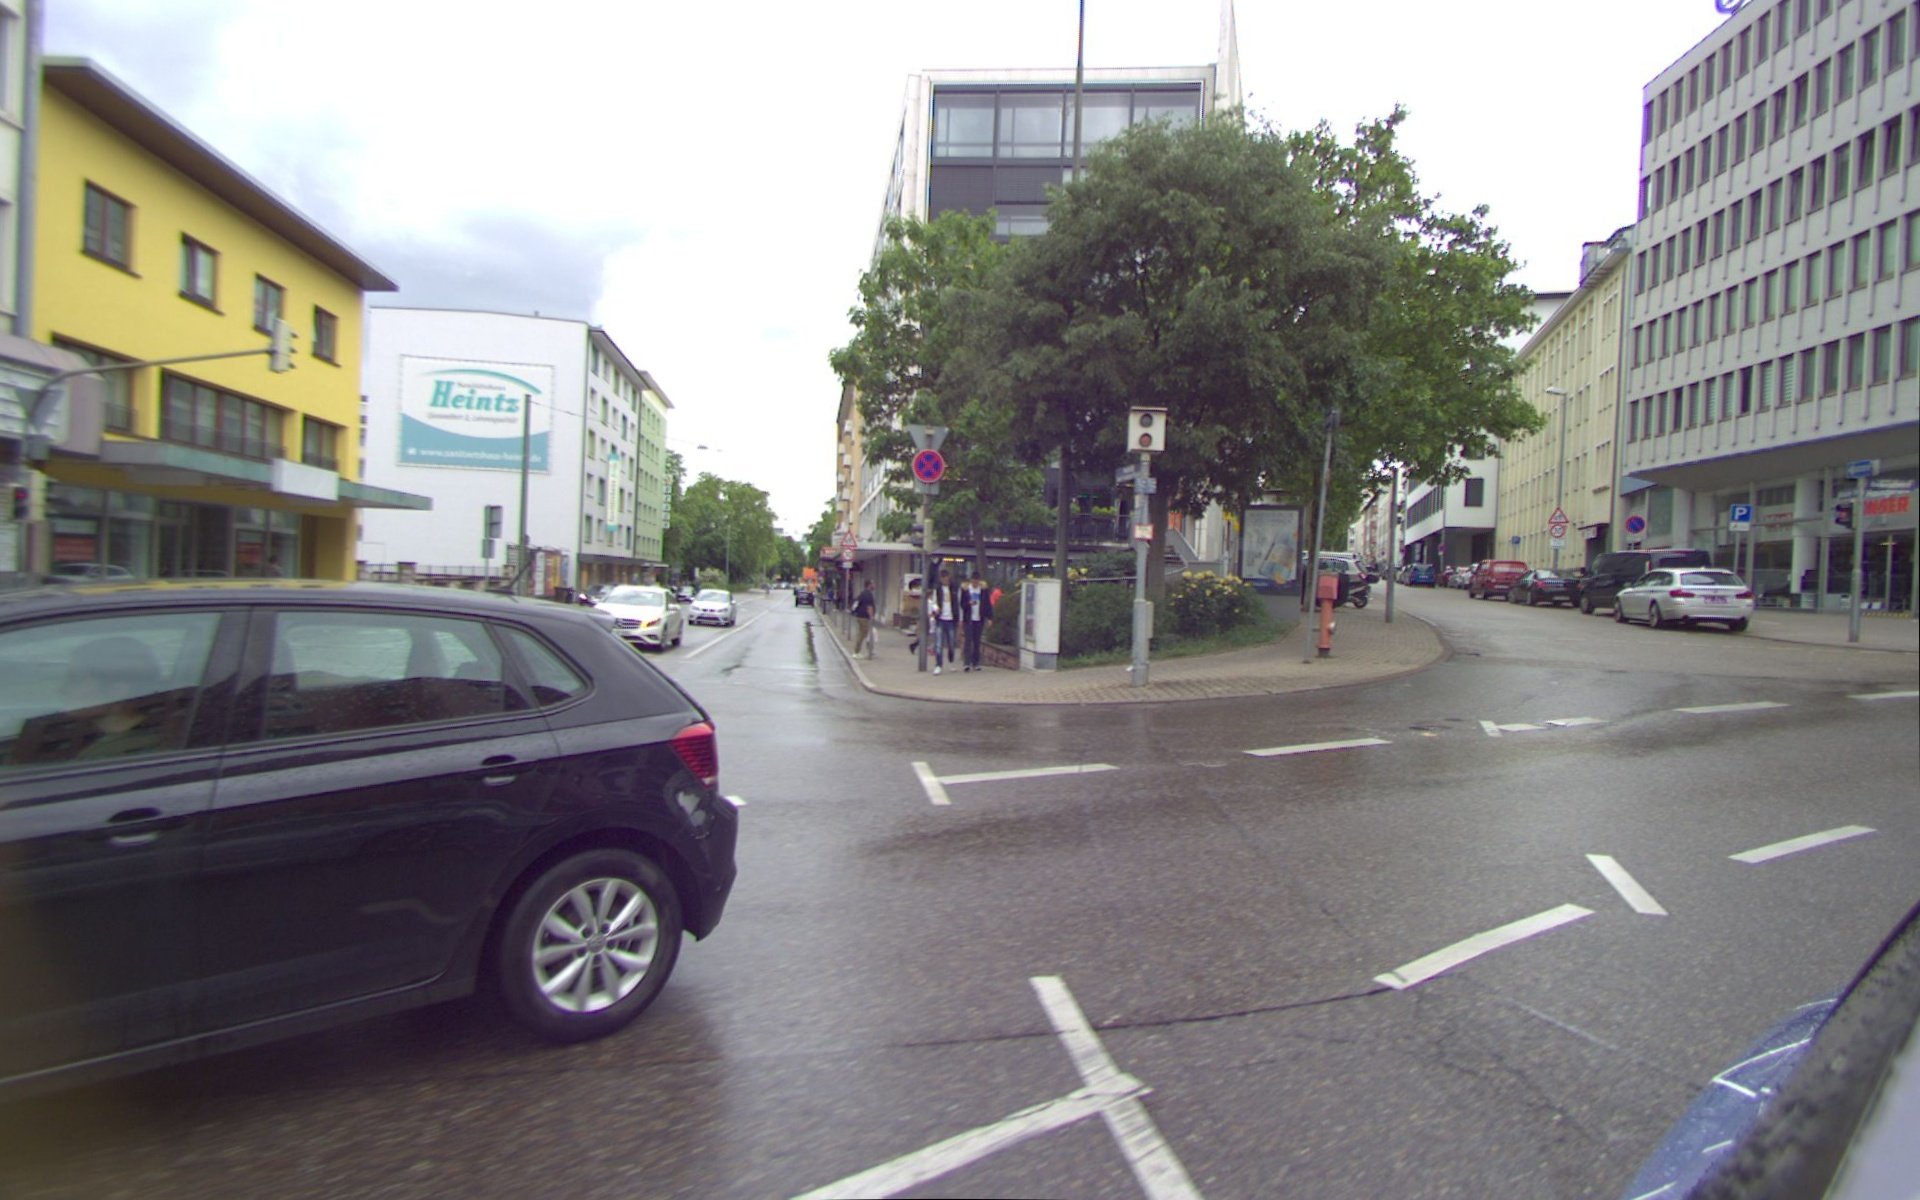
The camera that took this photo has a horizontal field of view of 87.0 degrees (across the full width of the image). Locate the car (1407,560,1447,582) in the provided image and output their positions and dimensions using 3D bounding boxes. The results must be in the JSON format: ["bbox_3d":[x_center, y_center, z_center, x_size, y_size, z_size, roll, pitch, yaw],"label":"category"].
[{"bbox_3d":[32.651,-2.051,70.869,1.973,1.512,3.980,0,3,17],"label":"car"}]

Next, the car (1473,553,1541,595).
[{"bbox_3d":[24.438,-1.201,45.341,1.862,1.785,3.980,0,3,17],"label":"car"}]

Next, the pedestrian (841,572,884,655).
[{"bbox_3d":[-2.229,0.298,23.105,0.873,1.851,0.827,0,-1,-12],"label":"pedestrian"}]

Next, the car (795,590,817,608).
[{"bbox_3d":[-14.088,-0.134,92.606,1.792,1.431,4.208,4,0,-8],"label":"car"}]

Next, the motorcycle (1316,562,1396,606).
[{"bbox_3d":[11.814,-0.506,30.233,2.079,1.129,0.622,7,5,34],"label":"motorcycle"}]

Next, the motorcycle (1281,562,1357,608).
[{"bbox_3d":[10.103,-0.440,28.473,1.920,1.130,0.624,5,3,23],"label":"motorcycle"}]

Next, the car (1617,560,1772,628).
[{"bbox_3d":[18.188,-0.237,25.328,1.834,1.513,4.822,0,2,20],"label":"car"}]

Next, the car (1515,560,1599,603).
[{"bbox_3d":[22.710,-0.738,38.639,1.817,1.512,4.115,0,3,17],"label":"car"}]

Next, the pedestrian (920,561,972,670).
[{"bbox_3d":[-0.257,0.272,18.050,0.665,1.850,0.716,-4,-1,-11],"label":"pedestrian"}]

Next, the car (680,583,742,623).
[{"bbox_3d":[-10.171,0.097,41.617,1.792,1.440,4.206,4,0,-5],"label":"car"}]

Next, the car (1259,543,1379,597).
[{"bbox_3d":[13.040,-1.109,36.807,3.898,1.655,1.614,5,3,25],"label":"car"}]

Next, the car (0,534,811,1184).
[{"bbox_3d":[-2.602,0.564,3.074,3.928,1.495,1.692,1,2,-40],"label":"car"}]

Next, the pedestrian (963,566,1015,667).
[{"bbox_3d":[0.499,0.285,17.716,0.665,1.698,0.716,-4,-1,-10],"label":"pedestrian"}]

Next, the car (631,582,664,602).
[{"bbox_3d":[-24.574,-0.665,79.650,1.792,1.431,4.208,4,0,-8],"label":"car"}]

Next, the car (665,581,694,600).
[{"bbox_3d":[-24.087,-0.843,87.031,1.792,1.431,4.208,4,0,-8],"label":"car"}]

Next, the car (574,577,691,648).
[{"bbox_3d":[-7.744,0.248,24.297,1.792,1.431,4.207,4,0,-7],"label":"car"}]

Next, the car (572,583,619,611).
[{"bbox_3d":[-21.582,-0.207,60.062,1.792,1.431,4.208,4,0,-8],"label":"car"}]

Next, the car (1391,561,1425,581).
[{"bbox_3d":[35.854,-2.365,81.019,1.973,1.512,3.980,0,3,17],"label":"car"}]

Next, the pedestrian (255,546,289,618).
[{"bbox_3d":[-18.320,-0.476,26.940,0.667,1.850,0.890,-2,-2,-37],"label":"pedestrian"}]

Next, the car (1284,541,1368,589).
[{"bbox_3d":[19.173,-1.854,53.047,3.822,2.429,1.881,1,3,34],"label":"car"}]

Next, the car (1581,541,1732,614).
[{"bbox_3d":[20.718,-0.740,30.399,1.930,2.022,4.793,0,3,11],"label":"car"}]
